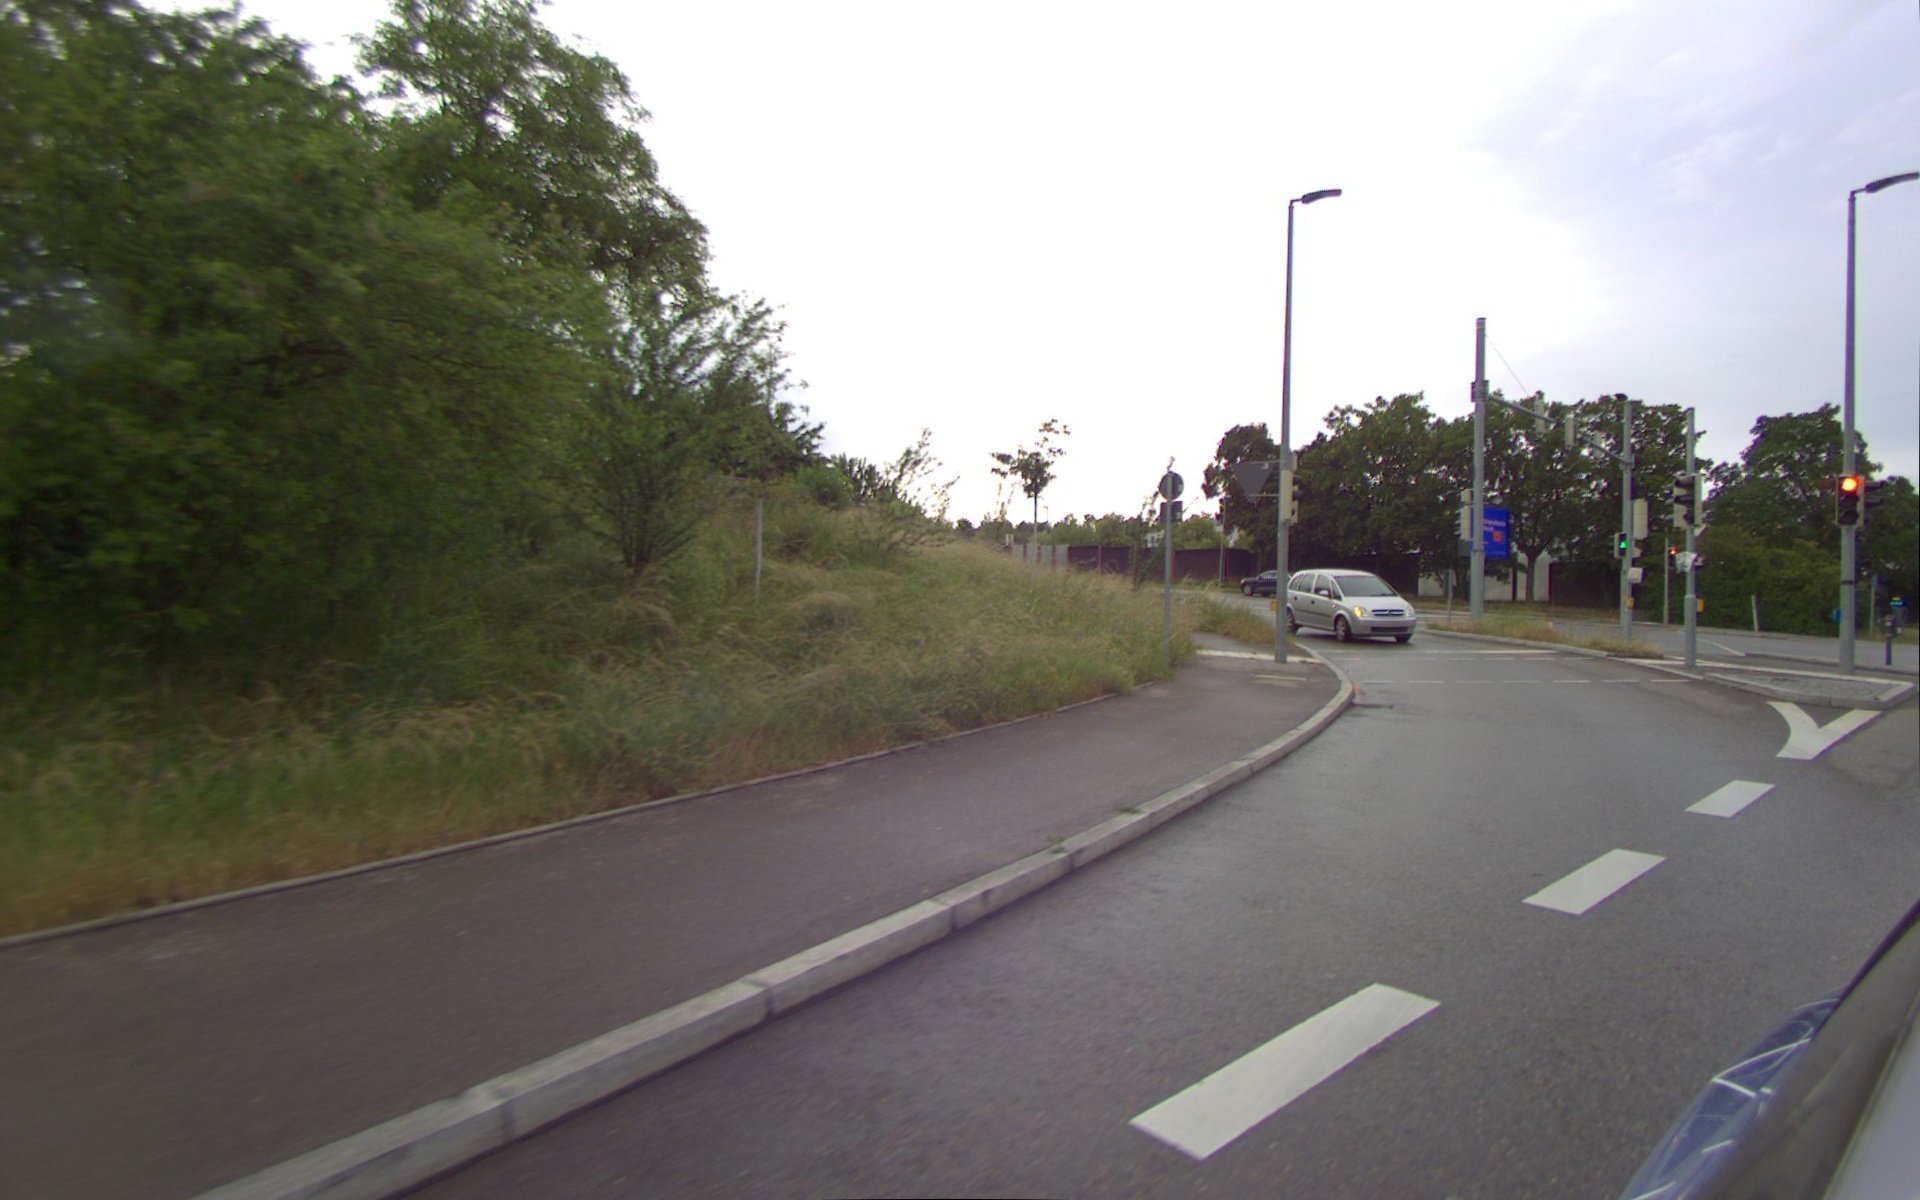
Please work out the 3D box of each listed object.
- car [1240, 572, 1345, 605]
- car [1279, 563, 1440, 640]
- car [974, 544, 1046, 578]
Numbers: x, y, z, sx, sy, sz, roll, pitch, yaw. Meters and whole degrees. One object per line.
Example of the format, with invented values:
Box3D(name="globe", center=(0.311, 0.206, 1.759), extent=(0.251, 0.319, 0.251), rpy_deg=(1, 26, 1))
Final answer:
Box3D(name="car", center=(18.497, -0.656, 56.548), extent=(1.805, 1.518, 5.536), rpy_deg=(2, 2, -36))
Box3D(name="car", center=(9.326, -0.030, 24.021), extent=(1.786, 1.624, 4.070), rpy_deg=(-1, 2, -7))
Box3D(name="car", center=(2.718, -2.150, 55.834), extent=(1.789, 1.695, 4.000), rpy_deg=(2, 2, -37))
